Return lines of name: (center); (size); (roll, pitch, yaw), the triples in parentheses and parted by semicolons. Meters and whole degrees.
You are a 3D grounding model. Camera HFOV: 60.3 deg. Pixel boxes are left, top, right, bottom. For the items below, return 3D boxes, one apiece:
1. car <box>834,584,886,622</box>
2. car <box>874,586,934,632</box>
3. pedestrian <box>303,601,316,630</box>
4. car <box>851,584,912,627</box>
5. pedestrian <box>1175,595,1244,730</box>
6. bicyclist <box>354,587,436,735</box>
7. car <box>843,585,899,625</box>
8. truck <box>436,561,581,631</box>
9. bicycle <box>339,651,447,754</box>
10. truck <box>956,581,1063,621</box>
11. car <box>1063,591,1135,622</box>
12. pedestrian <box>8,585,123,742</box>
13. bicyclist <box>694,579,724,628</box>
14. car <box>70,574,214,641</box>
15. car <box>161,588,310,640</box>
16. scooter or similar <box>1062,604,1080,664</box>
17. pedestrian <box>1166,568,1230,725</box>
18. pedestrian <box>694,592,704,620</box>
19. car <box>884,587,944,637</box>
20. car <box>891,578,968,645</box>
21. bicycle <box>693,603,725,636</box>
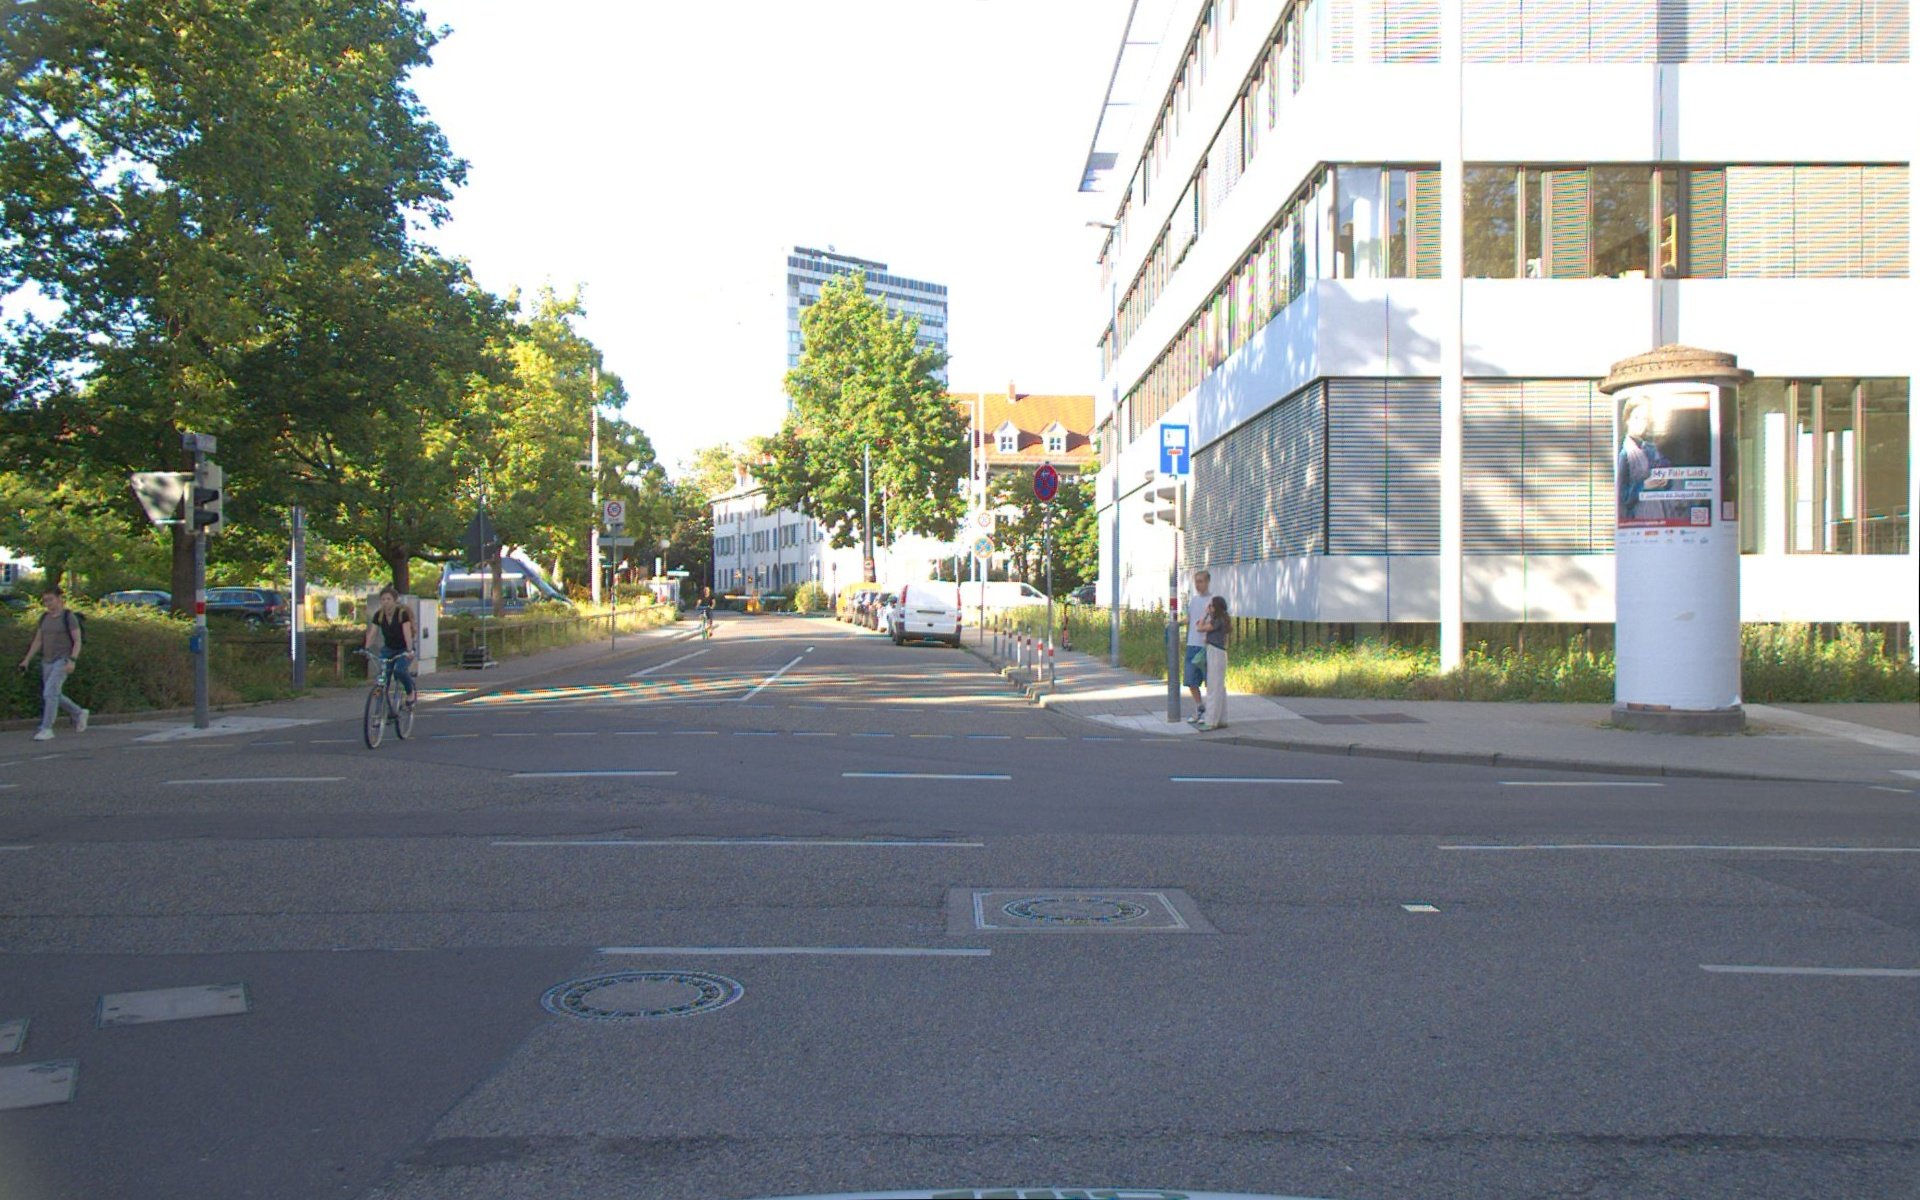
car: (-4.838, 0.132, 79.378); (1.855, 1.684, 4.402); (0, 1, -12)
car: (-2.128, 0.325, 61.789); (1.852, 1.583, 4.409); (1, 1, -7)
pedestrian: (-30.882, 0.737, 78.467); (0.550, 1.347, 0.574); (0, 0, -20)
car: (-3.336, 0.218, 69.215); (1.855, 1.684, 4.402); (0, 1, -12)
pedestrian: (2.993, 0.734, 19.852); (0.549, 1.567, 0.674); (-3, 0, -12)
bicyclist: (-6.091, 0.639, 17.868); (0.603, 1.559, 0.903); (0, 0, -2)
car: (-4.065, 0.213, 74.675); (1.855, 1.684, 4.402); (0, 1, -12)
truck: (-16.358, -0.141, 60.117); (4.733, 2.441, 2.086); (1, 0, -4)
bicycle: (-6.090, 1.081, 17.853); (0.603, 0.987, 1.840); (0, 0, -2)
truck: (2.568, 0.061, 86.191); (5.245, 2.049, 1.994); (0, 0, -13)
car: (7.287, 0.357, 86.875); (3.493, 1.573, 1.553); (0, 0, -13)
pedestrian: (-10.249, 0.716, 18.985); (0.688, 1.753, 0.956); (-1, 0, 11)
bicyclist: (-8.231, 0.124, 54.253); (0.849, 1.542, 1.018); (-2, 0, -5)
car: (-31.455, 0.288, 63.665); (4.464, 2.433, 2.073); (-1, 0, -3)
car: (-26.182, 0.506, 59.903); (4.464, 1.760, 2.073); (-1, 0, -3)
scooter or similar: (2.770, 0.844, 41.381); (0.323, 1.449, 1.335); (2, -1, 1)
pedestrian: (2.951, 0.570, 20.468); (0.548, 1.883, 0.677); (-3, 0, 22)
pedestrian: (-15.783, 0.373, 99.985); (0.535, 1.706, 0.474); (0, 0, -11)
car: (-1.604, 0.381, 56.324); (1.851, 1.583, 4.412); (1, 1, -4)
car: (-0.948, 0.296, 48.119); (2.044, 1.827, 4.412); (1, 1, -4)
bicycle: (-8.218, 0.638, 54.234); (0.849, 1.027, 2.412); (-2, 0, -5)
